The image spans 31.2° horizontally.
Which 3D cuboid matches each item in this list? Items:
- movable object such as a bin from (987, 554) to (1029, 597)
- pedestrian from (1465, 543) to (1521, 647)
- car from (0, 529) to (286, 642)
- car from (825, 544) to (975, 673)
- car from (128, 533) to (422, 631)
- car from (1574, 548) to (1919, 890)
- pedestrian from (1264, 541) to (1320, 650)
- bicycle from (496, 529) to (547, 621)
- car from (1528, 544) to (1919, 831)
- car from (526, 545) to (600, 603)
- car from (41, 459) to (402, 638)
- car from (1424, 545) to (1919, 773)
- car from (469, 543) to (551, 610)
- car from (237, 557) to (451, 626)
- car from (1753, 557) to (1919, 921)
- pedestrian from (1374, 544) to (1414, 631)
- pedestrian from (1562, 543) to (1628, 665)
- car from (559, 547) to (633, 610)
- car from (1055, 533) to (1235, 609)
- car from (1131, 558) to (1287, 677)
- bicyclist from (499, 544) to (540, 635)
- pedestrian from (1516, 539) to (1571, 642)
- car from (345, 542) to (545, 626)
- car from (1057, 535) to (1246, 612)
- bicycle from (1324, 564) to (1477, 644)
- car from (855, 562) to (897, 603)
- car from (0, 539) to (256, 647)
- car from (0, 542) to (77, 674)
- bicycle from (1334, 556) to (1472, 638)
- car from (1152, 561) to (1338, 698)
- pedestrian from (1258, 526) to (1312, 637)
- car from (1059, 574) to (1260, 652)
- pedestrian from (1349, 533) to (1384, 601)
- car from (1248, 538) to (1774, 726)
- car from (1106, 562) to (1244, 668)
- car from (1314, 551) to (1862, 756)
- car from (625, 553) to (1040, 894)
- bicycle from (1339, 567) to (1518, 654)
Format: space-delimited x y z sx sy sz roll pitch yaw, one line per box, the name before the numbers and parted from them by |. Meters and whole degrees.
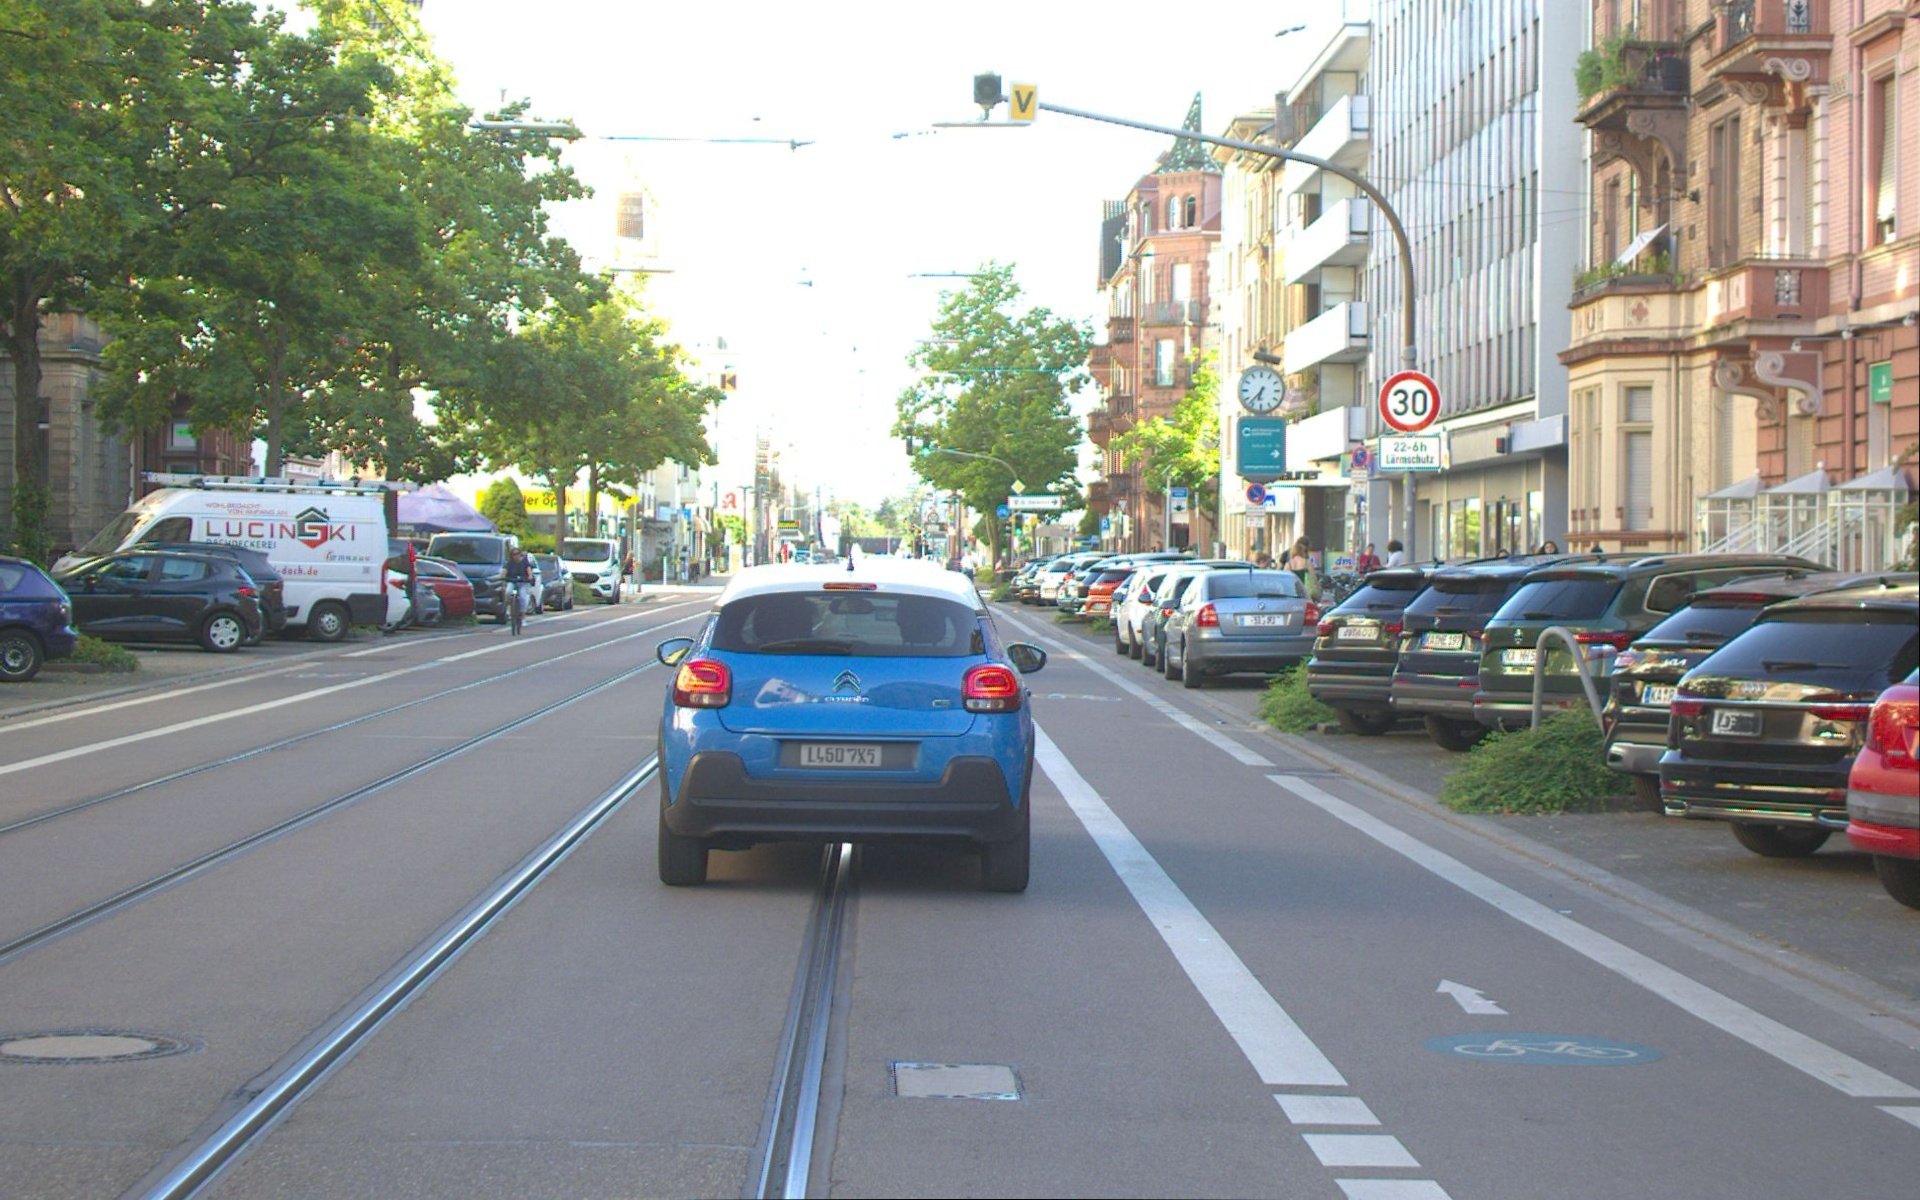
movable object such as a bin | 1.697 -0.876 121.765 1.394 1.478 1.655 1 0 -1
pedestrian | 8.381 -0.085 54.074 0.712 1.601 0.654 -2 0 -2
car | -12.486 -0.217 52.438 3.986 1.612 1.713 1 0 -26
car | -0.786 0.094 45.764 1.873 1.590 4.000 1 0 -1
car | -12.049 -0.306 60.620 4.755 1.612 1.712 1 0 -33
car | 5.673 0.583 17.936 4.433 1.590 2.089 1 0 -25
pedestrian | 4.939 -0.069 51.107 0.711 1.601 0.654 1 0 -2
bicycle | -8.187 -0.474 64.249 0.680 1.673 2.097 1 0 -1
car | 5.831 0.510 21.351 4.318 1.590 2.045 1 0 -35
car | -10.589 -0.701 91.791 1.747 1.482 4.043 1 0 -4
car | -11.970 -0.809 55.869 5.370 2.739 1.806 1 0 -30
car | 5.720 0.435 25.753 3.986 1.590 1.960 1 0 -25
car | -11.301 -0.600 86.534 1.747 1.612 4.411 1 0 -4
car | -11.954 -0.163 66.756 3.796 1.261 1.516 1 0 -26
car | 5.817 0.627 15.536 3.986 1.531 1.919 1 0 -25
pedestrian | 8.896 -0.255 70.471 0.692 1.750 0.678 1 0 -1
pedestrian | 8.513 0.048 46.123 0.711 1.601 0.654 1 0 -2
car | -11.137 -0.653 105.268 1.831 1.841 4.214 1 0 -1
car | 4.004 -0.618 74.365 3.441 1.550 1.824 1 0 -32
car | 3.516 0.219 49.210 1.873 1.590 4.000 1 0 -1
bicyclist | -8.224 -0.196 64.184 0.634 1.676 0.727 1 0 -1
pedestrian | 9.213 -0.157 54.311 0.711 1.601 0.654 1 0 -2
car | -10.616 -0.335 70.848 3.722 1.617 1.789 1 0 -22
car | 4.309 -0.593 77.139 3.718 1.646 2.048 1 0 -33
bicycle | 7.051 0.061 55.092 2.358 1.217 0.664 1 0 3
car | -2.977 -0.632 122.199 1.423 1.427 3.139 1 0 -1
car | -12.427 -0.107 50.303 3.985 1.484 1.807 1 0 -17
car | -12.244 0.051 38.974 3.986 1.484 1.806 1 0 -28
bicycle | 6.842 -0.046 53.139 2.019 1.217 0.664 1 0 -1
car | 3.541 0.330 43.482 1.873 1.590 4.719 1 0 -1
pedestrian | 4.952 -0.285 52.439 0.711 1.666 0.654 1 0 -2
car | 4.182 0.274 71.908 3.718 1.515 1.968 1 0 -33
pedestrian | 9.596 -0.771 81.103 0.692 1.582 0.678 1 0 -1
car | 5.001 0.288 31.191 4.302 1.590 1.983 1 0 -25
car | 3.387 0.214 54.715 1.873 1.590 4.000 1 0 -1
car | 5.229 0.444 28.655 3.986 1.590 2.088 1 0 -25
car | -0.591 0.520 16.666 1.762 1.436 3.557 1 0 -1
bicycle | 6.970 0.153 51.169 2.538 1.217 0.664 1 0 -1
